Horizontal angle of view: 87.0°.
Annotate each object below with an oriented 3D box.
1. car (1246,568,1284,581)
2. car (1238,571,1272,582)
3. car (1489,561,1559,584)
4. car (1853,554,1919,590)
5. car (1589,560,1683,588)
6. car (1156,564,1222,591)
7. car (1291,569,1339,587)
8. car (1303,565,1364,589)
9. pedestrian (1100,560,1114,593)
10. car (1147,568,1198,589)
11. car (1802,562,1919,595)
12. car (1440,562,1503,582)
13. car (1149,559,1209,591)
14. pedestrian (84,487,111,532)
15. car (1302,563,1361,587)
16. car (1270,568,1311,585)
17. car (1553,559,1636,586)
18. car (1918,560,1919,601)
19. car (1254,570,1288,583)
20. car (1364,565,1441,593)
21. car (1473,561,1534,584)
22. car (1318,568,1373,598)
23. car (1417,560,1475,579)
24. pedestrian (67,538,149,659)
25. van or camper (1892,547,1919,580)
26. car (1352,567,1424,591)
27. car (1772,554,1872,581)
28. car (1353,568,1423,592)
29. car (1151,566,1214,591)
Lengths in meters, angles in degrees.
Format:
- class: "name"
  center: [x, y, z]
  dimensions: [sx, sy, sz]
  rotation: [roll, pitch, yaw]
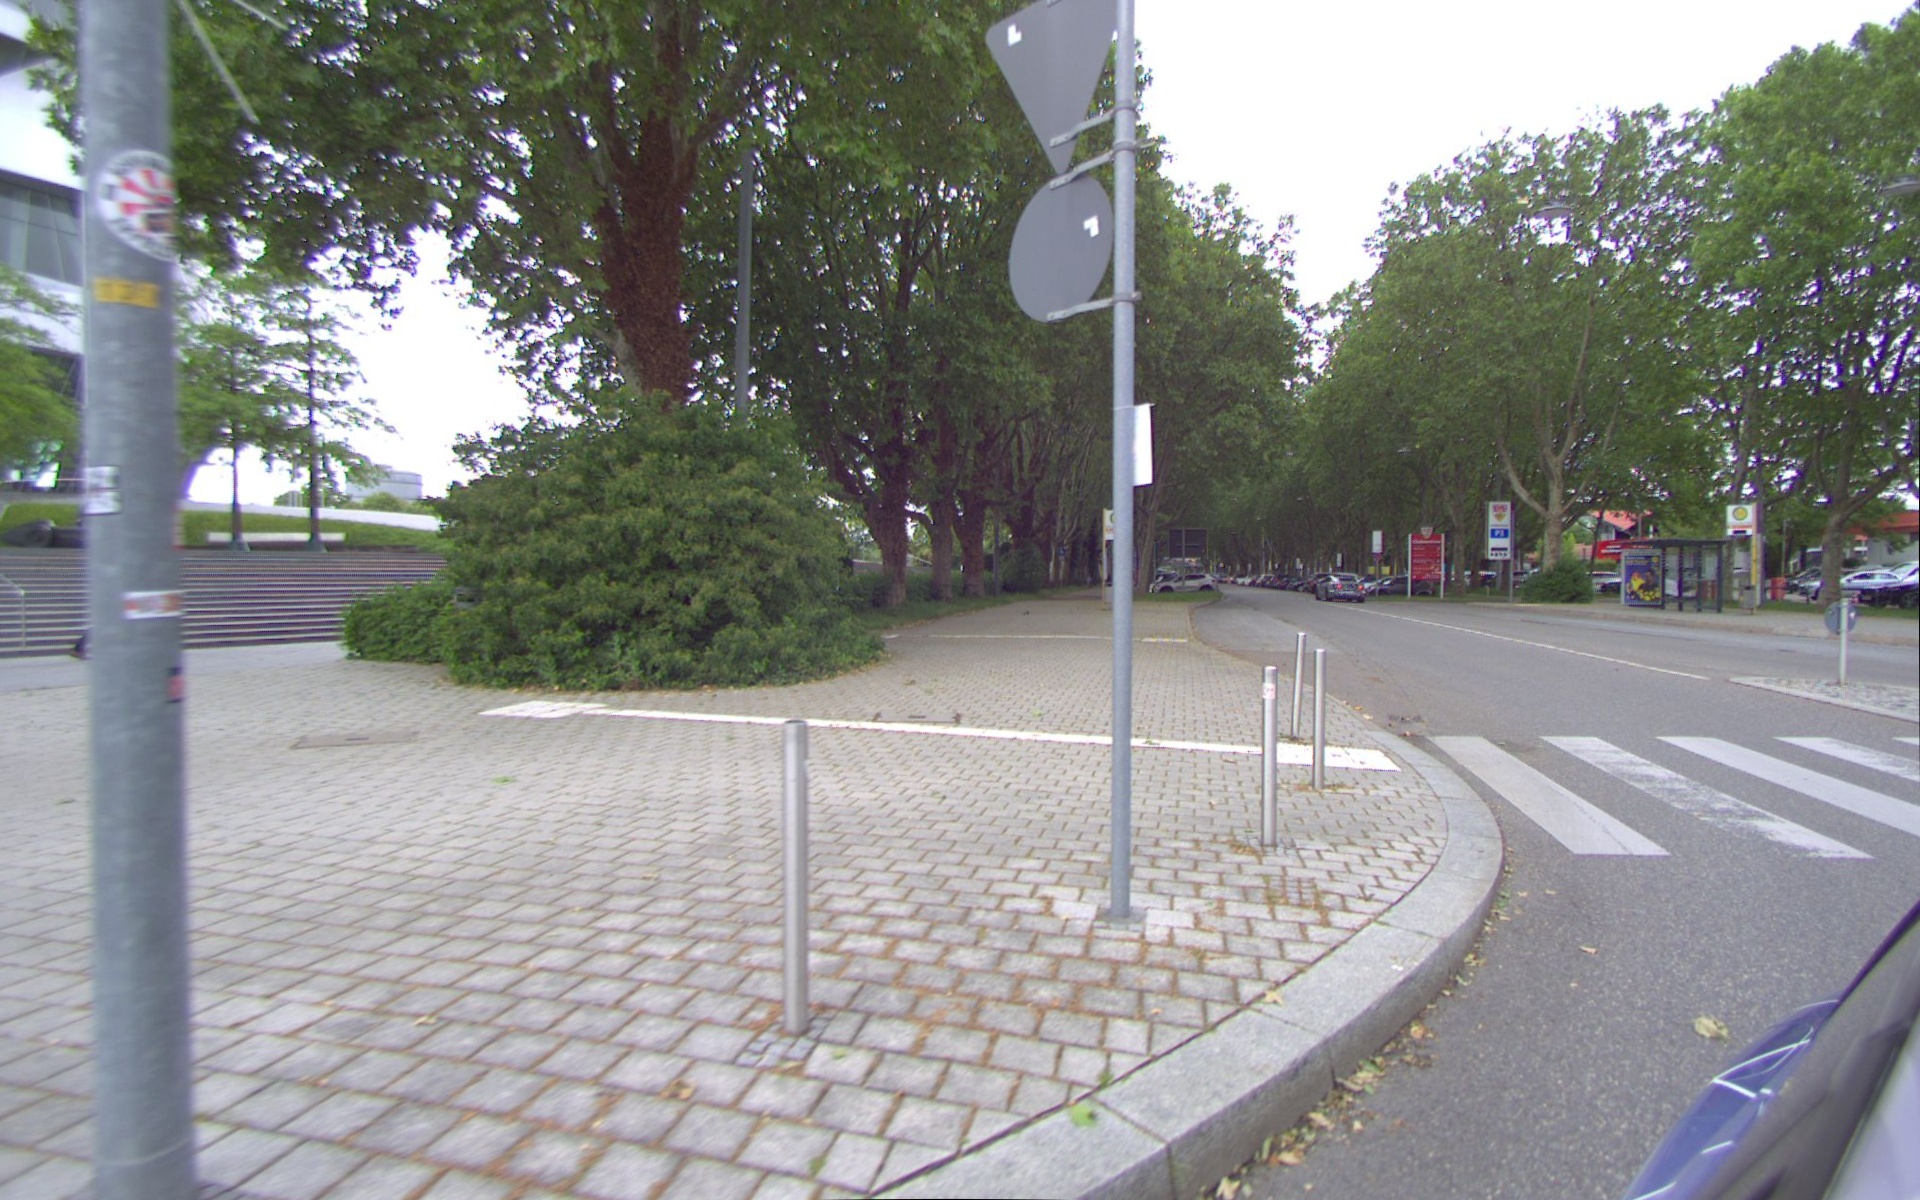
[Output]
- class: "car"
  center: [34.886, -2.937, 115.904]
  dimensions: [3.942, 1.438, 1.698]
  rotation: [1, 1, 11]
- class: "car"
  center: [41.347, -3.341, 141.939]
  dimensions: [4.352, 1.442, 1.771]
  rotation: [1, 1, 11]
- class: "car"
  center: [46.580, -2.276, 83.665]
  dimensions: [4.494, 1.747, 2.290]
  rotation: [-1, 1, 11]
- class: "car"
  center: [37.533, -1.128, 39.175]
  dimensions: [3.937, 1.340, 1.996]
  rotation: [-1, 2, 12]
- class: "car"
  center: [41.697, -1.618, 62.561]
  dimensions: [4.266, 1.567, 2.197]
  rotation: [-1, 2, 11]
- class: "car"
  center: [15.620, -1.531, 69.154]
  dimensions: [4.293, 1.654, 1.918]
  rotation: [-2, 0, 13]
- class: "car"
  center: [31.903, -1.983, 91.033]
  dimensions: [3.935, 1.438, 1.747]
  rotation: [2, 2, 15]
- class: "car"
  center: [29.864, -1.871, 81.100]
  dimensions: [4.264, 1.817, 2.030]
  rotation: [-1, 1, 12]
- class: "pedestrian"
  center: [9.263, -1.487, 63.749]
  dimensions: [0.771, 2.038, 0.600]
  rotation: [-1, 1, -4]
- class: "car"
  center: [19.069, -1.928, 90.992]
  dimensions: [4.290, 1.767, 1.831]
  rotation: [-2, 0, 11]
- class: "car"
  center: [45.051, -1.059, 50.063]
  dimensions: [4.941, 1.571, 2.076]
  rotation: [0, 2, 33]
- class: "car"
  center: [48.511, -2.663, 96.090]
  dimensions: [4.877, 1.819, 2.177]
  rotation: [0, 1, 10]
- class: "car"
  center: [14.902, -1.698, 68.958]
  dimensions: [3.938, 2.039, 1.993]
  rotation: [-2, 0, 13]
- class: "pedestrian"
  center: [-25.585, -2.663, 30.017]
  dimensions: [0.615, 1.284, 0.496]
  rotation: [0, 1, 40]
- class: "car"
  center: [30.611, -2.077, 83.500]
  dimensions: [4.259, 1.832, 1.863]
  rotation: [2, 1, 9]
- class: "car"
  center: [35.260, -2.508, 107.982]
  dimensions: [3.881, 1.729, 1.747]
  rotation: [1, 1, 11]
- class: "car"
  center: [43.564, -1.919, 69.575]
  dimensions: [4.266, 1.730, 2.125]
  rotation: [-1, 1, 11]
- class: "car"
  center: [37.512, -0.721, 36.398]
  dimensions: [3.938, 1.541, 1.995]
  rotation: [-1, 1, 13]
- class: "car"
  center: [39.939, -3.011, 129.989]
  dimensions: [3.939, 1.471, 1.849]
  rotation: [-1, 1, 13]
- class: "car"
  center: [26.758, -1.268, 61.329]
  dimensions: [3.947, 1.559, 1.798]
  rotation: [-1, 1, 14]
- class: "car"
  center: [47.634, -2.410, 88.801]
  dimensions: [4.266, 1.884, 2.022]
  rotation: [-1, 1, 11]
- class: "car"
  center: [20.732, -0.931, 54.621]
  dimensions: [1.876, 1.471, 4.802]
  rotation: [1, 1, 10]
- class: "car"
  center: [49.782, -3.079, 103.722]
  dimensions: [4.877, 1.819, 2.178]
  rotation: [-1, 1, 10]
- class: "pedestrian"
  center: [-13.393, -0.033, 15.922]
  dimensions: [0.702, 1.845, 0.624]
  rotation: [-1, 1, -4]
- class: "van or camper"
  center: [52.574, -1.986, 53.558]
  dimensions: [4.266, 1.730, 2.125]
  rotation: [-1, 1, 11]
- class: "car"
  center: [26.900, -1.312, 63.760]
  dimensions: [3.950, 1.402, 1.903]
  rotation: [-1, 2, 16]
- class: "car"
  center: [53.673, -2.047, 63.086]
  dimensions: [4.266, 1.567, 1.953]
  rotation: [-1, 1, 11]
- class: "car"
  center: [27.920, -1.318, 66.119]
  dimensions: [3.944, 1.512, 1.826]
  rotation: [-1, 1, 12]
- class: "car"
  center: [15.741, -1.530, 71.803]
  dimensions: [4.293, 1.625, 1.918]
  rotation: [-2, 0, 13]
